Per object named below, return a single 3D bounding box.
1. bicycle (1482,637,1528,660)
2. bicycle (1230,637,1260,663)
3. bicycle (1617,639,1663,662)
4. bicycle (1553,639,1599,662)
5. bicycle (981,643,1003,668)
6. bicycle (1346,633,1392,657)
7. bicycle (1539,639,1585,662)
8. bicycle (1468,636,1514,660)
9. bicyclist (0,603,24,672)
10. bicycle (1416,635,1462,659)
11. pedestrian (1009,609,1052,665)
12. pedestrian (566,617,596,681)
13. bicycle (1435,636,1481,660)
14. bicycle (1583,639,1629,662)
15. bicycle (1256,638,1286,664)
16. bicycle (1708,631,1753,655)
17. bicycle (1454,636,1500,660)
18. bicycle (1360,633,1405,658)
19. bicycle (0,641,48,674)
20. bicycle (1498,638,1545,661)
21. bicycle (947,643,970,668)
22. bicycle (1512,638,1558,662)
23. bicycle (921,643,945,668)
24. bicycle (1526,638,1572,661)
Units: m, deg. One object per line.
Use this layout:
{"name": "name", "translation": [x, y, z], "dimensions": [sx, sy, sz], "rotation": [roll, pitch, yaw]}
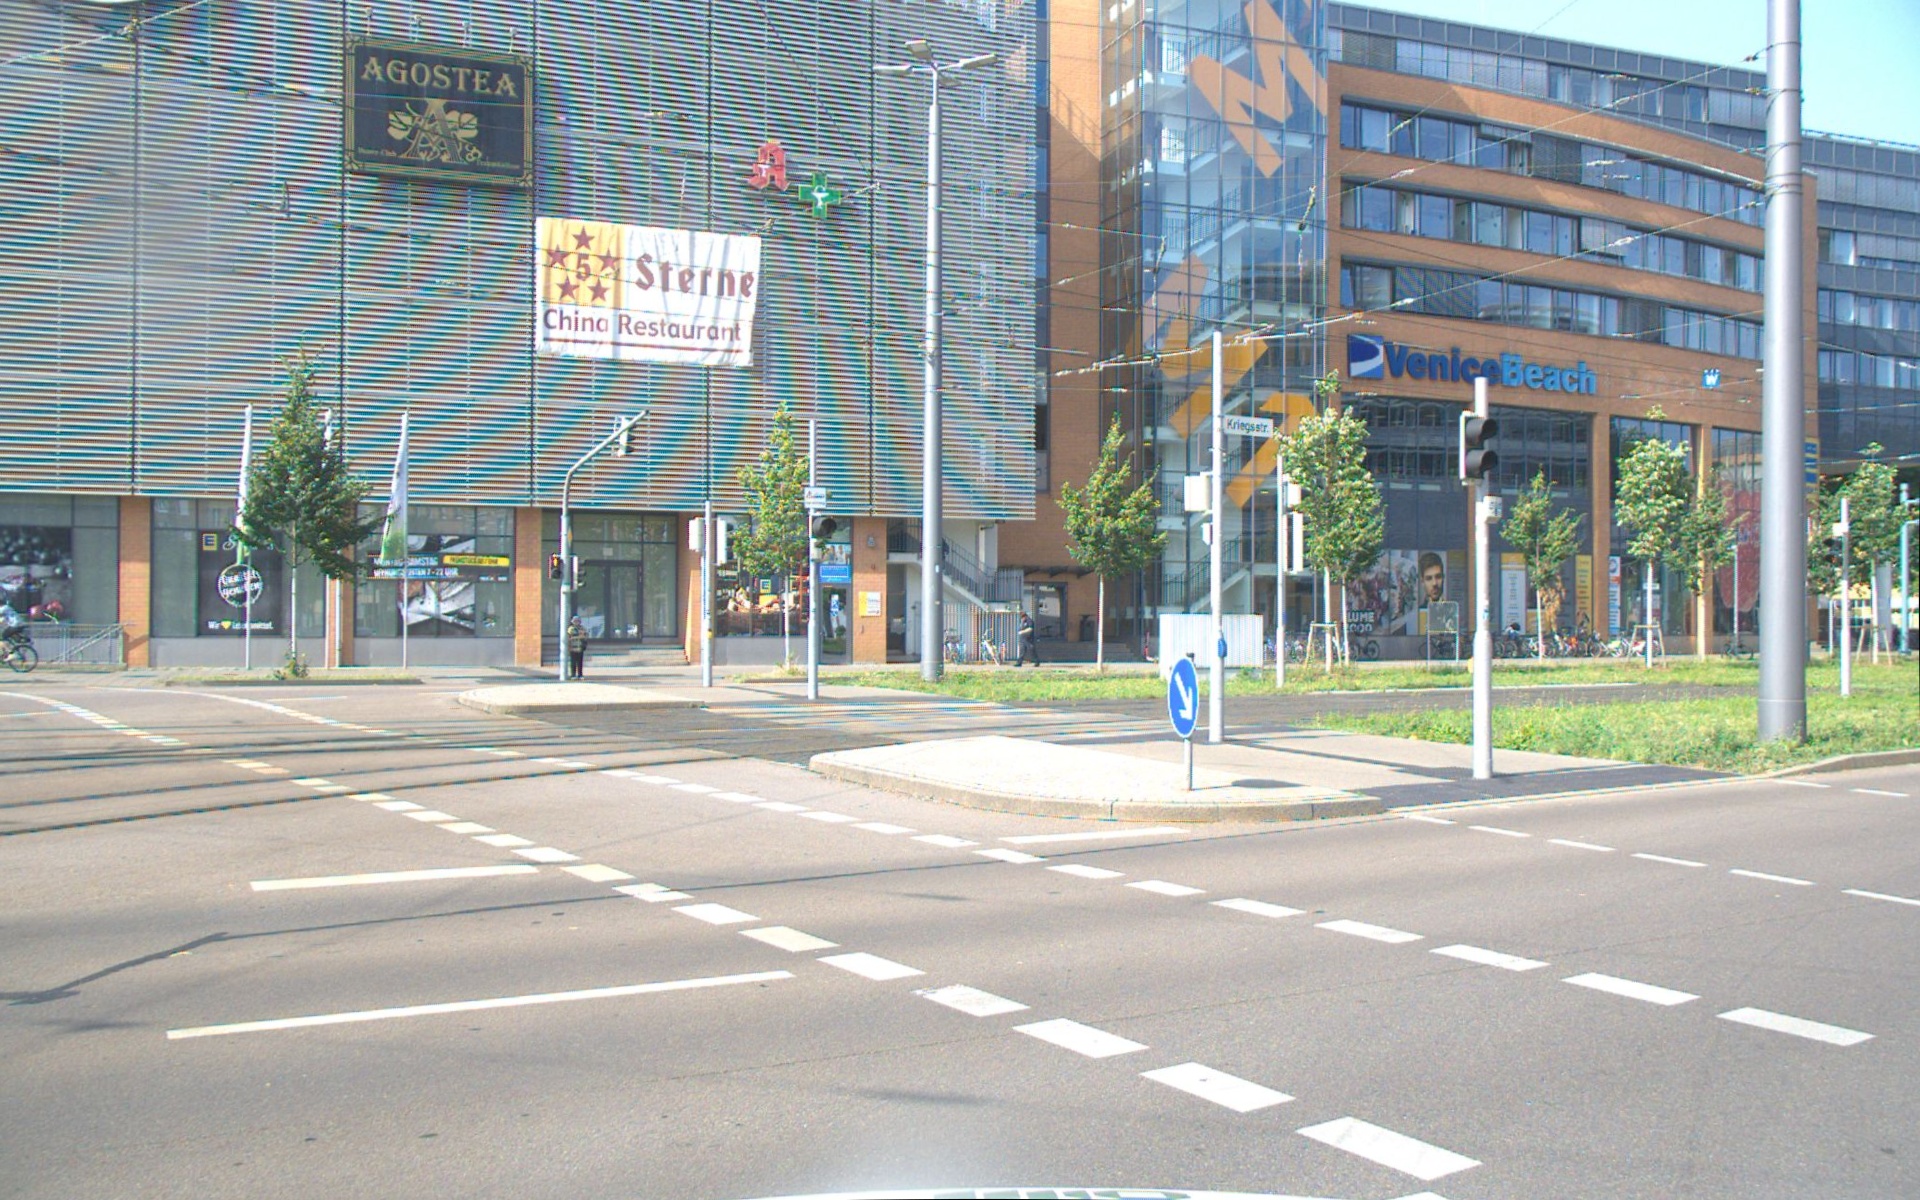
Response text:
{"name": "bicycle", "translation": [22.678, 2.004, 68.815], "dimensions": [0.564, 0.938, 2.037], "rotation": [1, -1, -26]}
{"name": "bicycle", "translation": [10.097, 1.761, 58.707], "dimensions": [0.253, 0.902, 1.456], "rotation": [2, -2, -25]}
{"name": "bicycle", "translation": [29.945, 2.218, 72.869], "dimensions": [0.564, 0.938, 2.037], "rotation": [1, -1, -26]}
{"name": "bicycle", "translation": [26.433, 2.147, 70.982], "dimensions": [0.564, 0.938, 2.037], "rotation": [1, -1, -26]}
{"name": "bicycle", "translation": [1.036, 1.793, 53.518], "dimensions": [0.354, 0.765, 1.018], "rotation": [1, -1, -20]}
{"name": "bicycle", "translation": [16.122, 1.768, 65.235], "dimensions": [0.564, 0.938, 2.037], "rotation": [1, -1, -26]}
{"name": "bicycle", "translation": [25.673, 2.139, 70.520], "dimensions": [0.564, 0.938, 2.037], "rotation": [1, -1, -26]}
{"name": "bicycle", "translation": [21.945, 1.969, 68.358], "dimensions": [0.564, 0.938, 2.037], "rotation": [1, -1, -26]}
{"name": "bicyclist", "translation": [-23.332, 0.906, 40.364], "dimensions": [0.701, 1.658, 0.565], "rotation": [2, -2, -20]}
{"name": "bicycle", "translation": [19.357, 1.910, 66.854], "dimensions": [0.564, 0.938, 2.037], "rotation": [1, -1, -26]}
{"name": "pedestrian", "translation": [2.256, 1.181, 53.058], "dimensions": [1.156, 1.749, 0.815], "rotation": [1, -1, -22]}
{"name": "pedestrian", "translation": [-9.581, 1.233, 41.778], "dimensions": [0.580, 1.607, 0.757], "rotation": [1, -1, -26]}
{"name": "bicycle", "translation": [20.311, 1.954, 67.475], "dimensions": [0.564, 0.938, 2.037], "rotation": [1, -1, -26]}
{"name": "bicycle", "translation": [27.958, 2.177, 71.611], "dimensions": [0.564, 0.938, 2.037], "rotation": [1, -1, -26]}
{"name": "bicycle", "translation": [11.163, 1.814, 59.423], "dimensions": [0.253, 0.845, 1.457], "rotation": [2, 0, -25]}
{"name": "bicycle", "translation": [31.771, 1.770, 68.229], "dimensions": [0.697, 0.923, 1.670], "rotation": [2, -1, -21]}
{"name": "bicycle", "translation": [21.213, 1.978, 67.903], "dimensions": [0.564, 0.938, 2.037], "rotation": [1, -1, -26]}
{"name": "bicycle", "translation": [16.752, 1.797, 65.597], "dimensions": [0.564, 0.938, 2.037], "rotation": [1, -1, -26]}
{"name": "bicycle", "translation": [-23.354, 1.391, 40.357], "dimensions": [1.835, 0.793, 0.579], "rotation": [2, -2, -20]}
{"name": "bicycle", "translation": [23.474, 2.051, 69.173], "dimensions": [0.564, 0.938, 2.037], "rotation": [1, -1, -26]}
{"name": "bicycle", "translation": [-0.056, 1.784, 53.095], "dimensions": [0.444, 0.765, 1.000], "rotation": [1, -1, -20]}
{"name": "bicycle", "translation": [24.188, 2.101, 69.638], "dimensions": [0.564, 0.938, 2.037], "rotation": [1, -1, -26]}
{"name": "bicycle", "translation": [-0.867, 1.757, 52.763], "dimensions": [0.444, 0.765, 1.000], "rotation": [1, -1, -20]}
{"name": "bicycle", "translation": [24.930, 2.103, 70.048], "dimensions": [0.564, 0.938, 2.037], "rotation": [1, -1, -26]}
